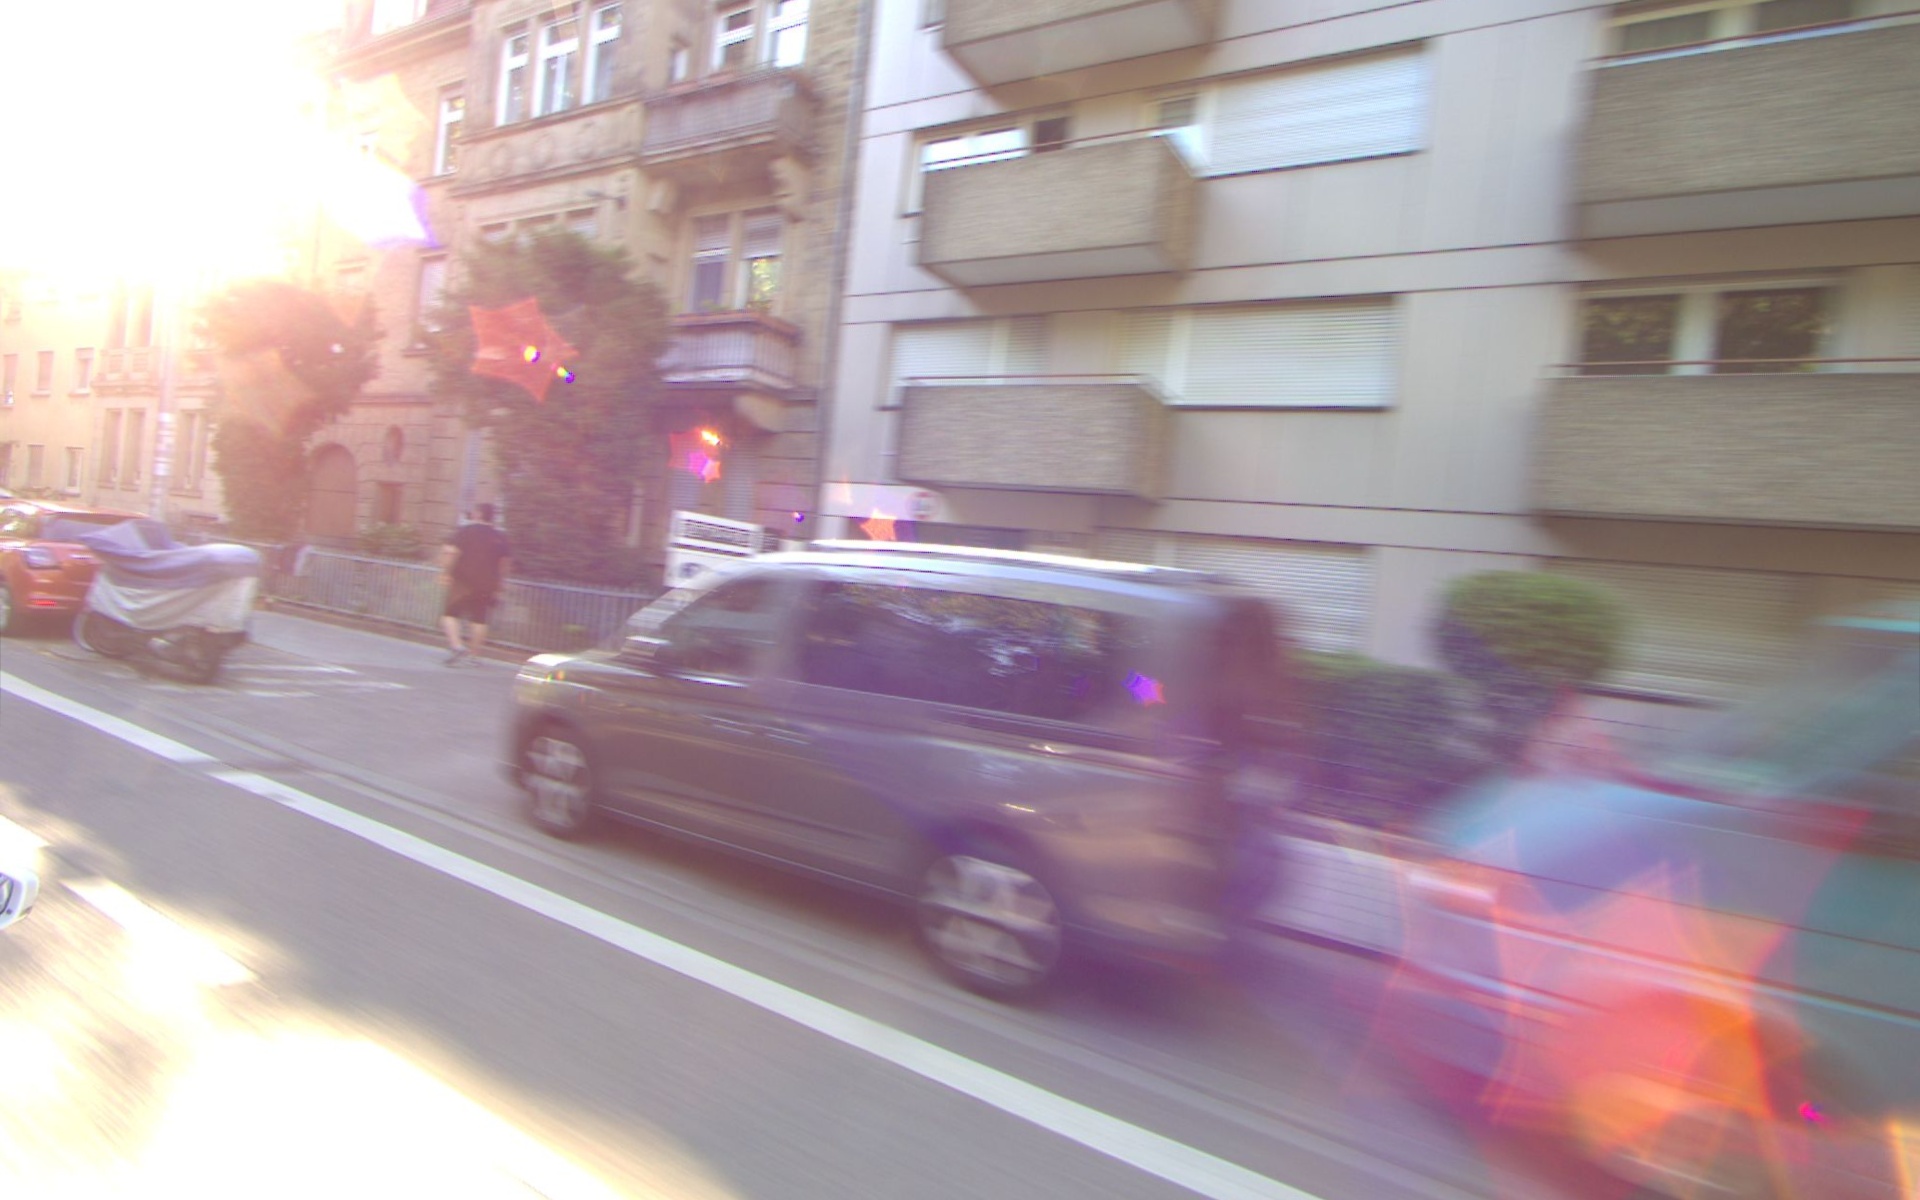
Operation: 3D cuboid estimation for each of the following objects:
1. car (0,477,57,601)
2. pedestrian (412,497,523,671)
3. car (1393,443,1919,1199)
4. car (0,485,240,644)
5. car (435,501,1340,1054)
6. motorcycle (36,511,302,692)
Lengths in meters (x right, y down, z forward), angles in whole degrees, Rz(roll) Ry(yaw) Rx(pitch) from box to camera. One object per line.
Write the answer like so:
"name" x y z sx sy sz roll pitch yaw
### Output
"car" -15.336 -1.049 14.917 3.788 1.711 1.747 6 0 31
"pedestrian" -5.893 -0.185 12.051 0.801 1.962 0.711 7 1 32
"car" 4.212 0.915 2.797 5.147 2.285 1.996 6 0 31
"car" -10.959 -0.487 12.310 3.913 1.579 1.996 6 -1 31
"car" -0.561 0.596 5.696 4.678 1.852 1.996 6 0 31
"motorcycle" -7.609 -0.010 9.670 2.335 1.417 0.825 7 3 19
